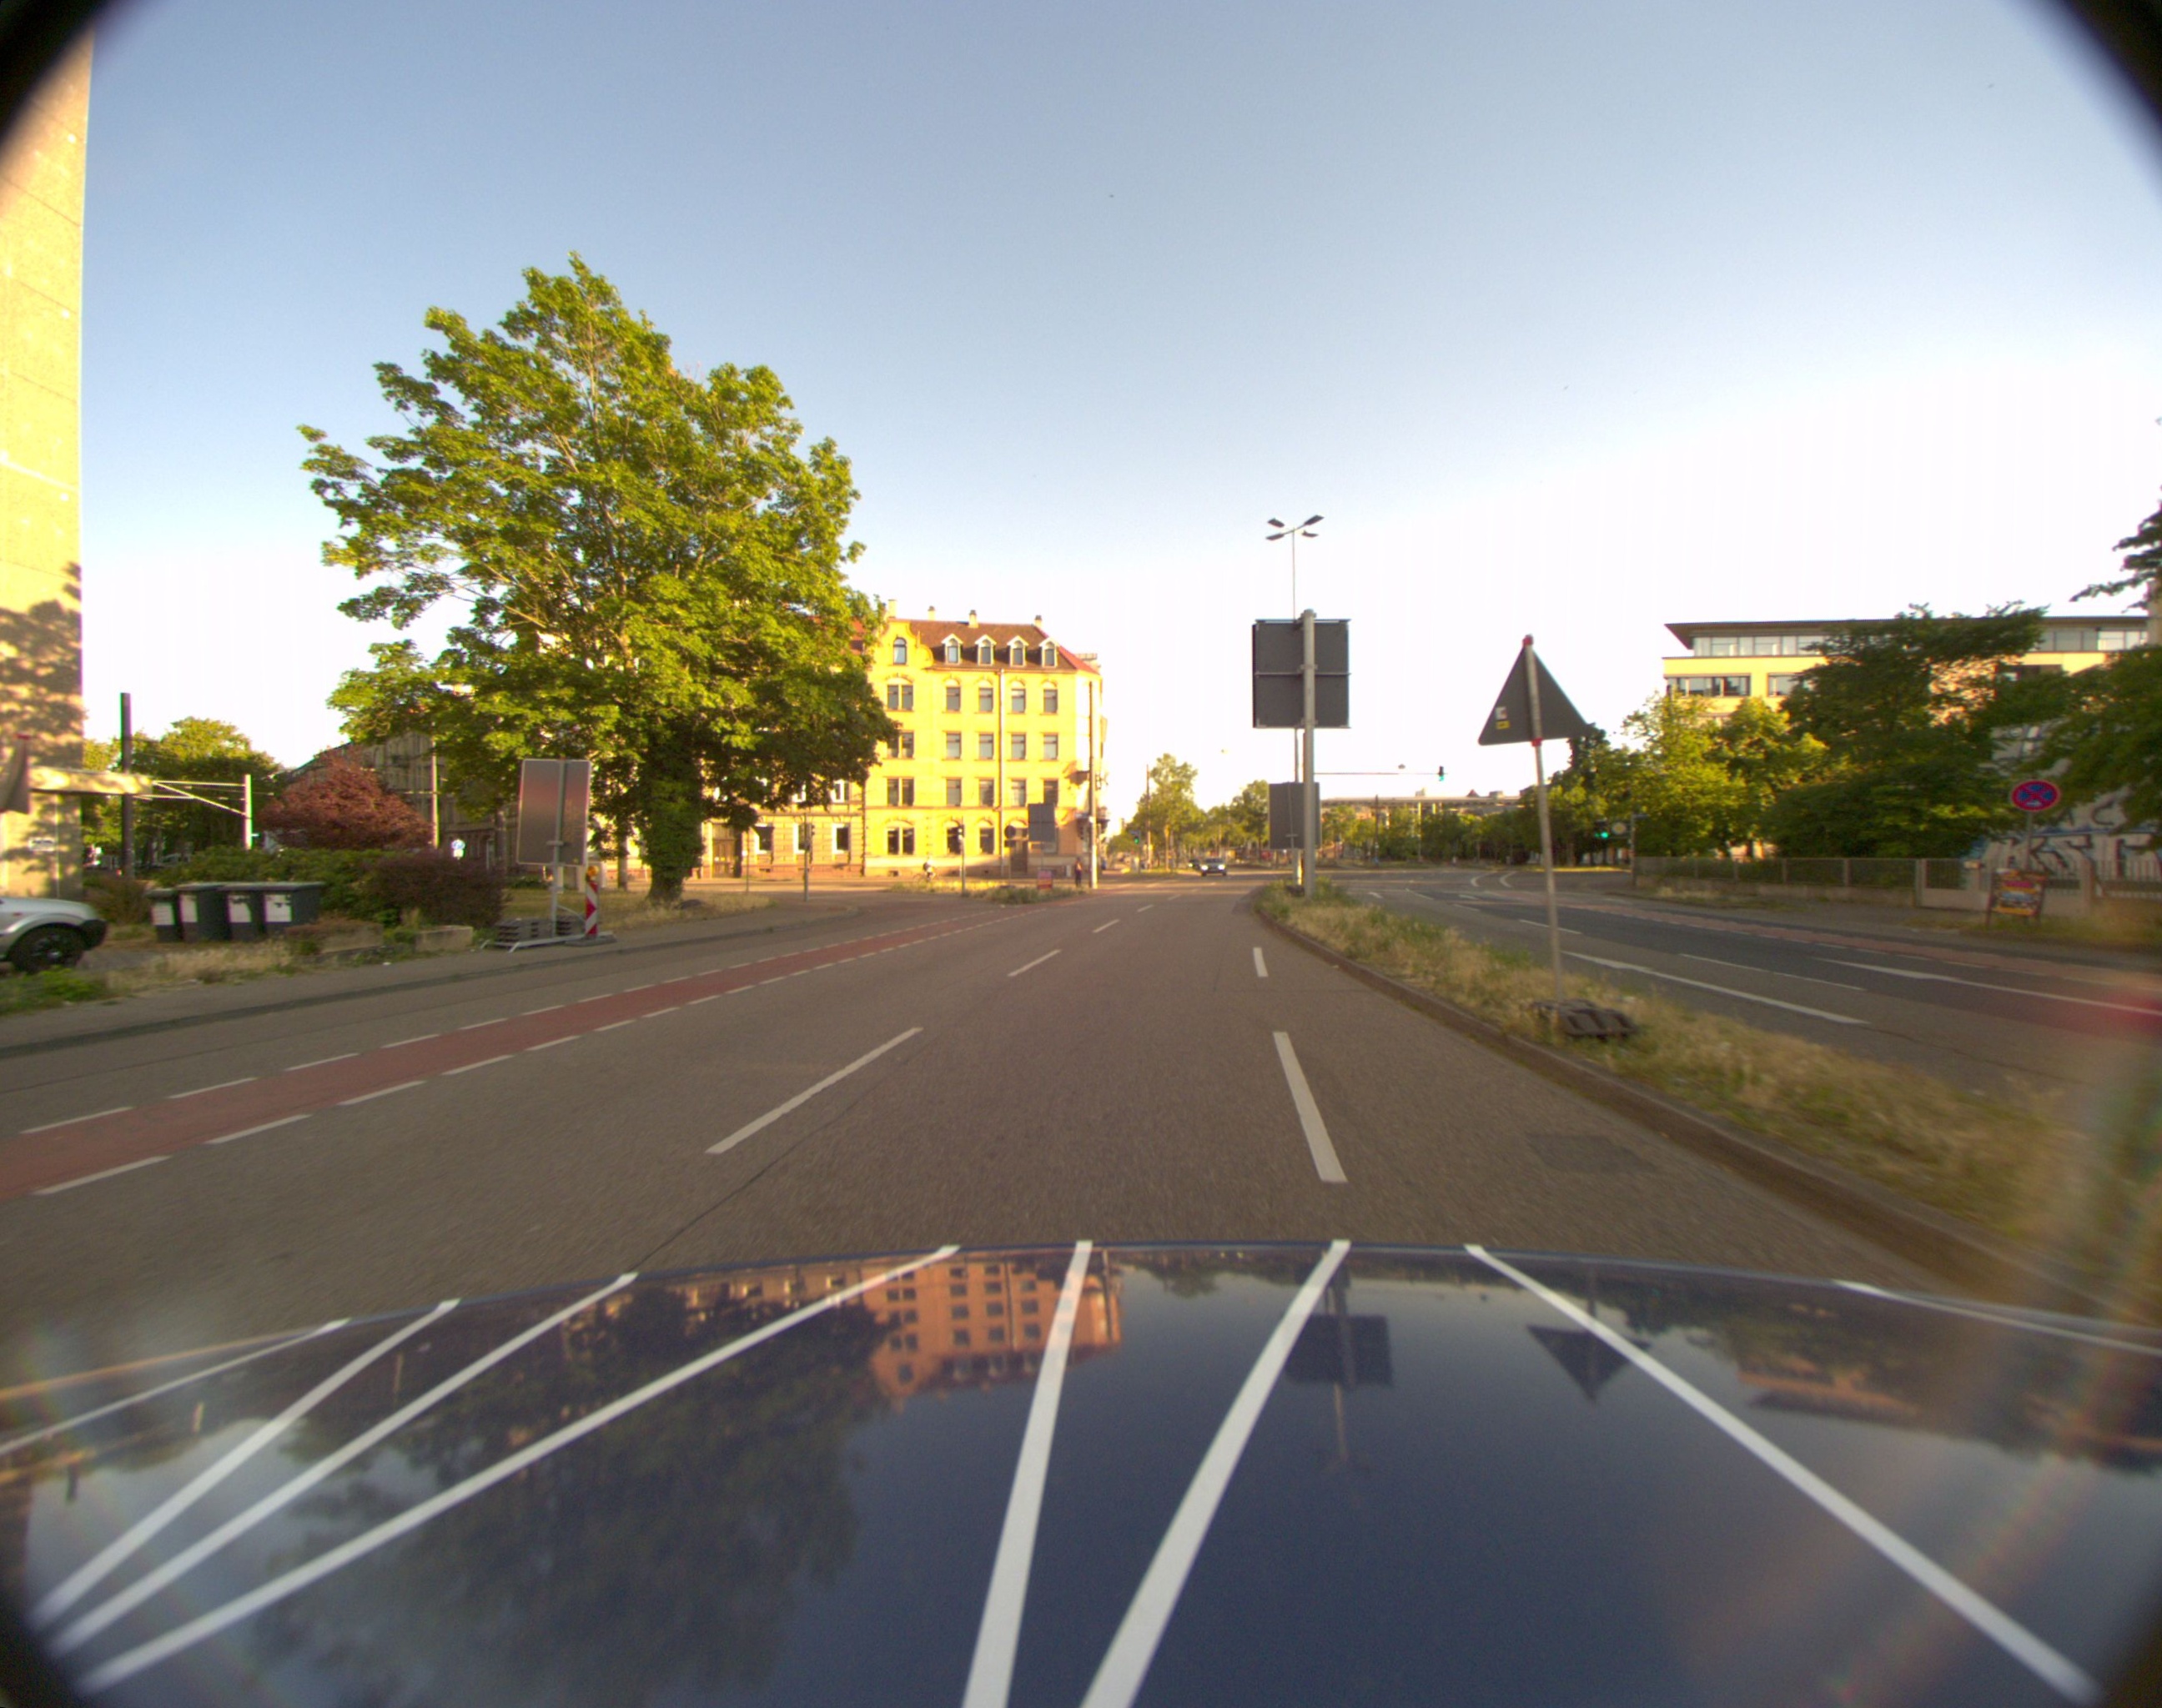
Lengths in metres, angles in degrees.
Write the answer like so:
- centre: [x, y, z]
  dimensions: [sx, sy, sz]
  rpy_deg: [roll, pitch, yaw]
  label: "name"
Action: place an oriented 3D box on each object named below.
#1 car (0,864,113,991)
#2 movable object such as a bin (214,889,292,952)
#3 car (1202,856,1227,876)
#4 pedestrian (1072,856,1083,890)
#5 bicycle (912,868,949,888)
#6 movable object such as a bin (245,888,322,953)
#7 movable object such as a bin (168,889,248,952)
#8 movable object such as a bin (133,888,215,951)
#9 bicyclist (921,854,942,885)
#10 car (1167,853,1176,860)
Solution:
- centre: [-14.037, 0.918, 8.376]
  dimensions: [1.688, 1.508, 3.798]
  rpy_deg: [0, 1, 7]
  label: "car"
- centre: [-13.998, 1.108, 12.865]
  dimensions: [0.544, 1.013, 0.688]
  rpy_deg: [0, 1, 5]
  label: "movable object such as a bin"
- centre: [10.496, 0.934, 60.063]
  dimensions: [1.818, 1.440, 4.669]
  rpy_deg: [-1, 0, 9]
  label: "car"
- centre: [-0.157, 0.964, 38.324]
  dimensions: [0.500, 1.693, 0.472]
  rpy_deg: [0, 1, 3]
  label: "pedestrian"
- centre: [-8.108, 1.283, 41.049]
  dimensions: [1.927, 1.053, 0.451]
  rpy_deg: [0, 1, -8]
  label: "bicycle"
- centre: [-13.275, 1.098, 12.662]
  dimensions: [0.544, 1.013, 0.688]
  rpy_deg: [0, 1, 5]
  label: "movable object such as a bin"
- centre: [-14.784, 1.110, 12.884]
  dimensions: [0.544, 1.013, 0.688]
  rpy_deg: [0, 1, 5]
  label: "movable object such as a bin"
- centre: [-15.452, 1.103, 12.958]
  dimensions: [0.544, 1.013, 0.688]
  rpy_deg: [0, 1, 5]
  label: "movable object such as a bin"
- centre: [-8.055, 0.829, 41.020]
  dimensions: [1.065, 1.639, 0.732]
  rpy_deg: [0, 1, -7]
  label: "bicyclist"
- centre: [18.674, 0.555, 156.209]
  dimensions: [1.673, 1.410, 4.443]
  rpy_deg: [0, 0, 8]
  label: "car"
